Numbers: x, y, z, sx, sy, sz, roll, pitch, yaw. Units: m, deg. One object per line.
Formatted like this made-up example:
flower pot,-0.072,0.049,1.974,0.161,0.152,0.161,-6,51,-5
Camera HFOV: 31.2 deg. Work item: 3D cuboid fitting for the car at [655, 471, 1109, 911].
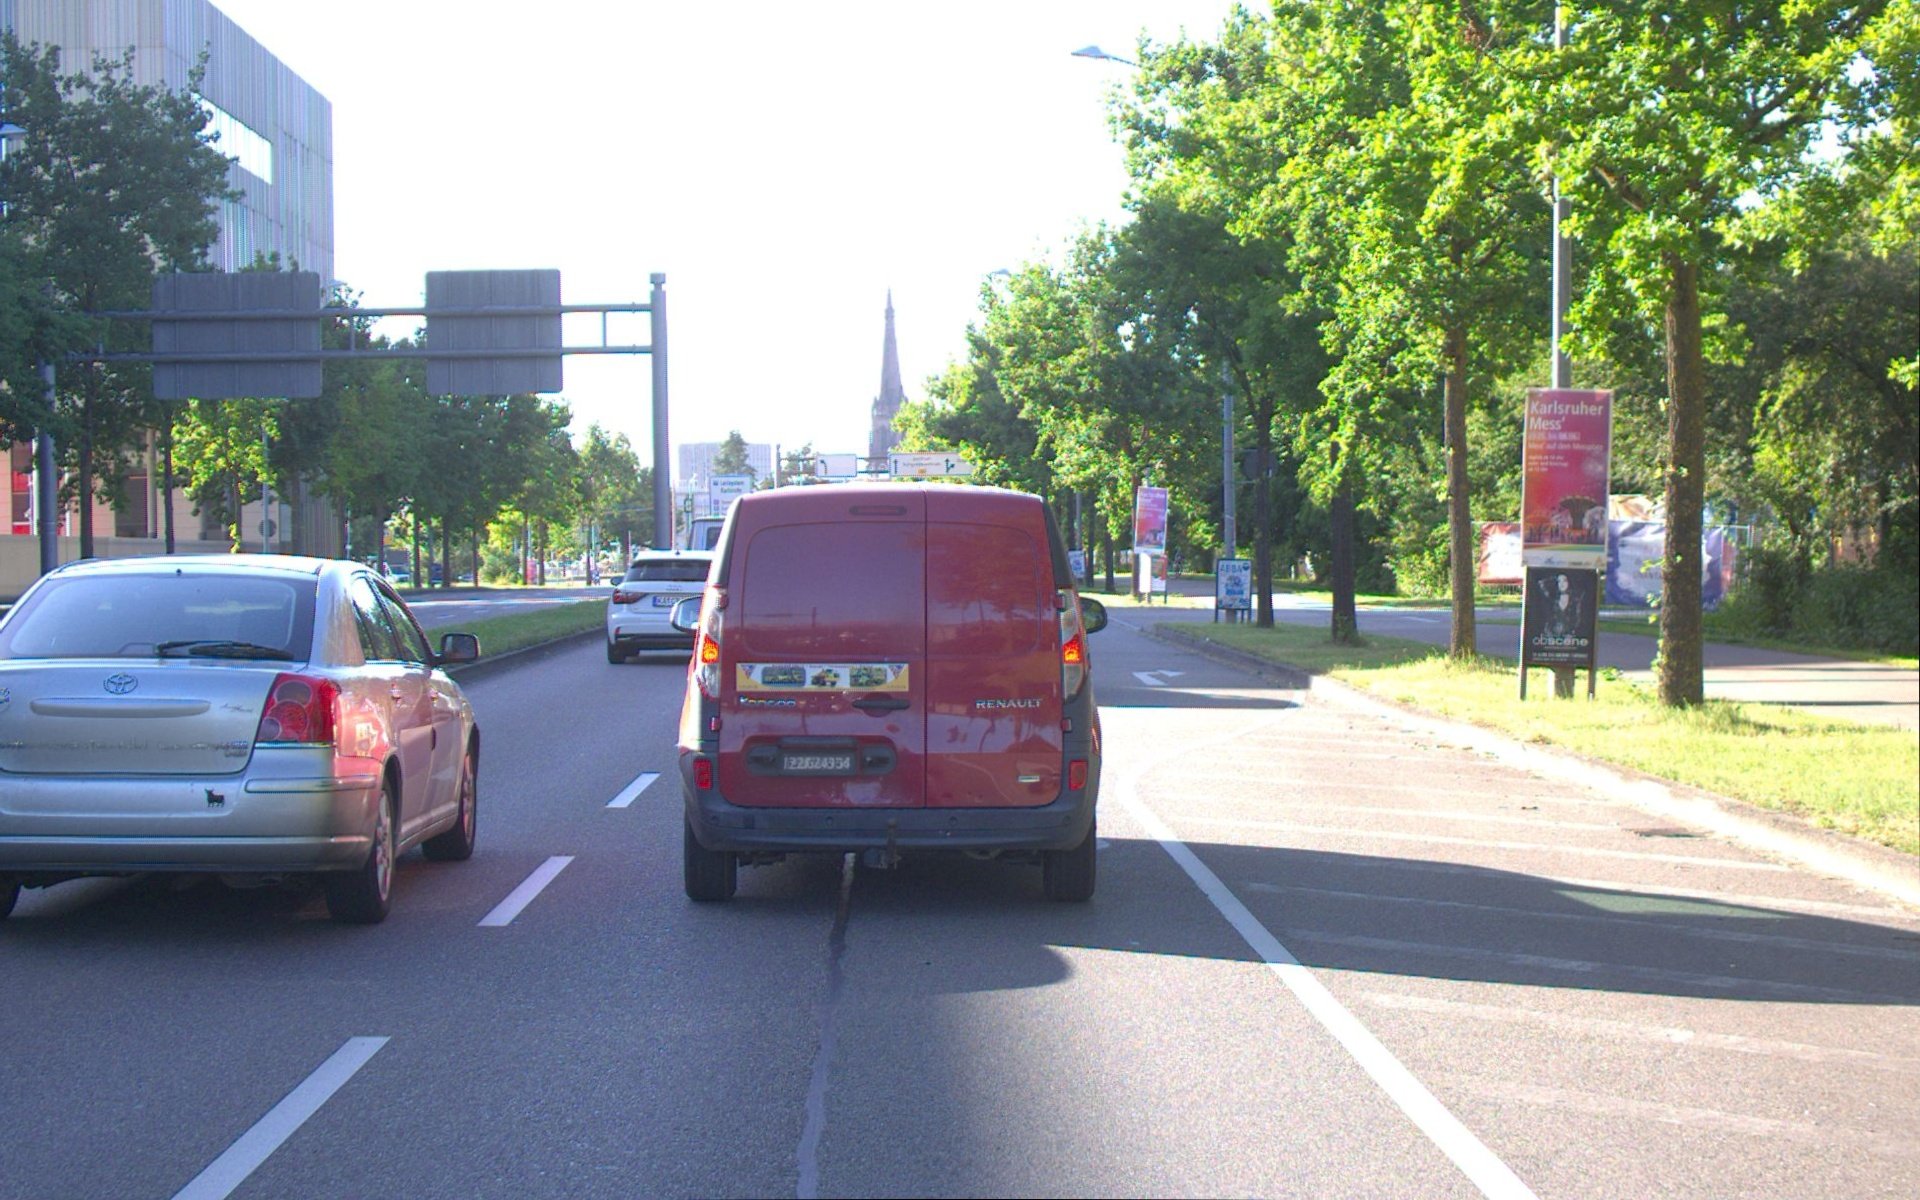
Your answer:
car,-0.363,0.344,15.855,1.806,1.753,4.006,1,1,-1

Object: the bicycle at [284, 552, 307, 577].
bicycle,-26.807,-1.439,138.755,0.570,1.000,2.096,0,0,-2

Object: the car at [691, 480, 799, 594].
car,-3.591,-1.056,57.916,1.661,1.850,3.559,0,1,-1

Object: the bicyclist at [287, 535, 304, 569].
bicyclist,-26.814,-1.932,138.762,0.562,1.387,0.747,0,0,-2

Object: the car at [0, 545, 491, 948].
car,-3.183,0.506,14.632,1.841,1.451,4.162,1,1,-1

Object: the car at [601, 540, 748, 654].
car,-3.613,-0.060,44.026,1.661,1.393,3.559,0,1,-1
